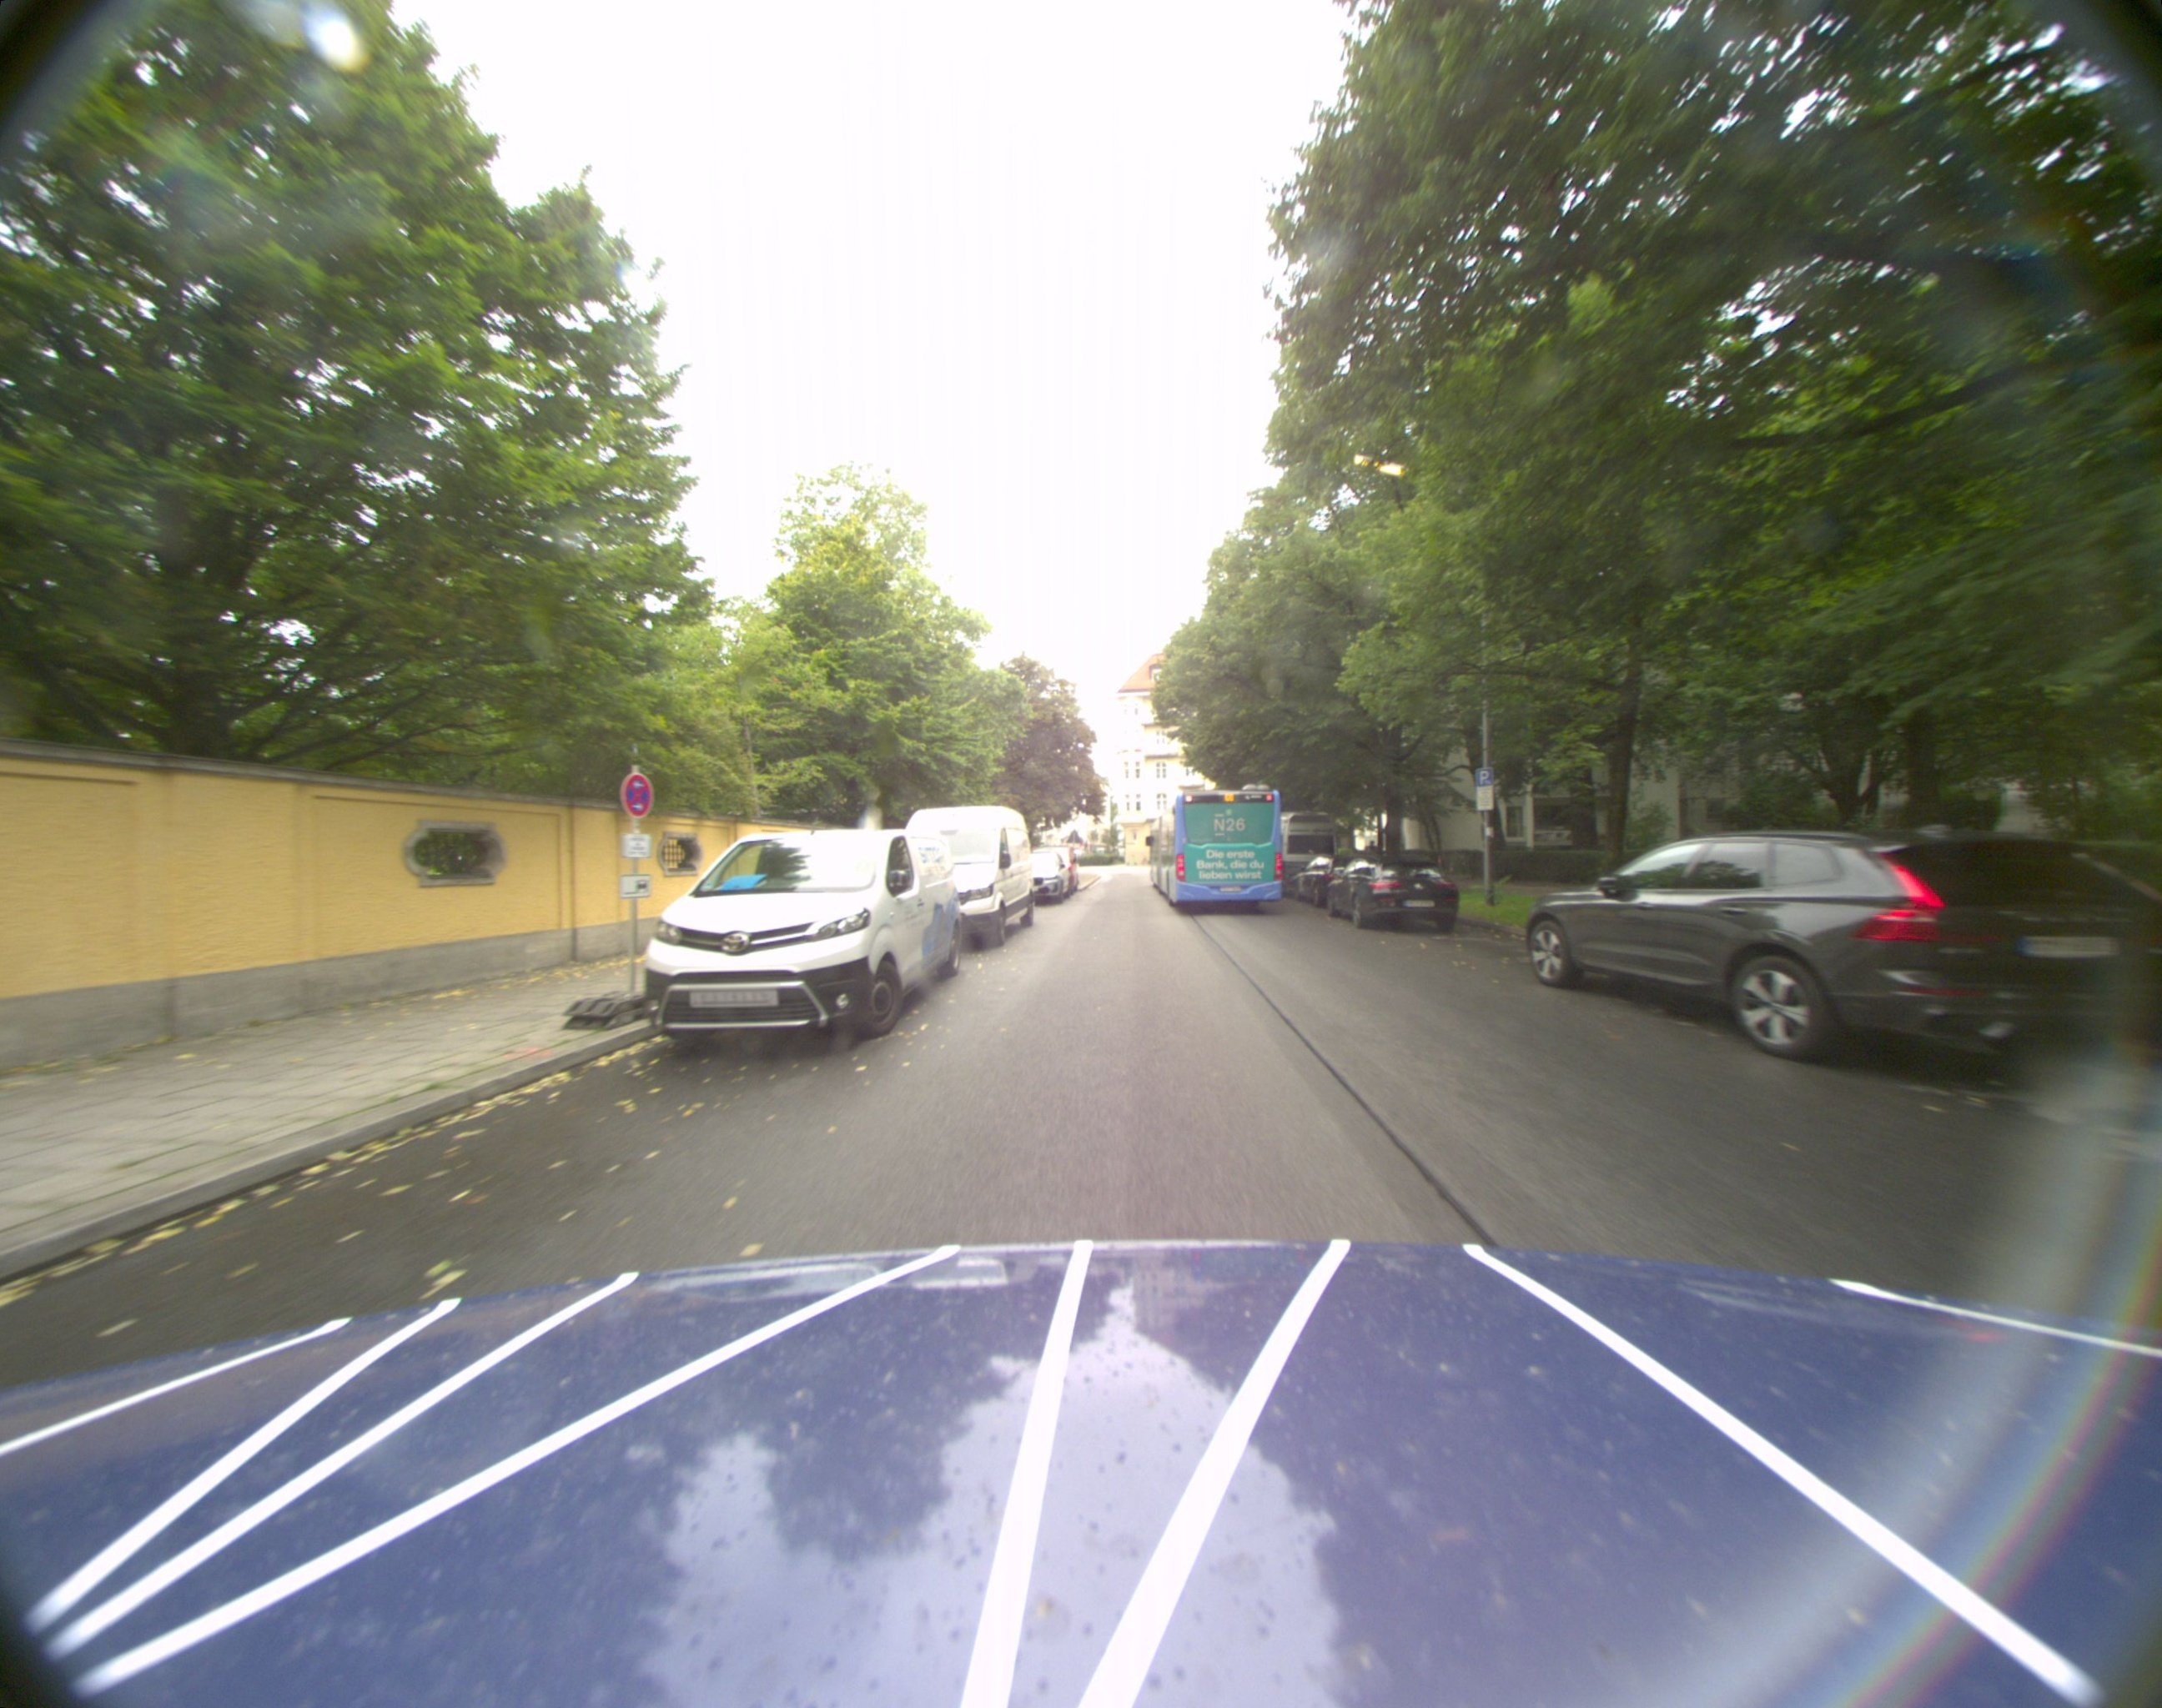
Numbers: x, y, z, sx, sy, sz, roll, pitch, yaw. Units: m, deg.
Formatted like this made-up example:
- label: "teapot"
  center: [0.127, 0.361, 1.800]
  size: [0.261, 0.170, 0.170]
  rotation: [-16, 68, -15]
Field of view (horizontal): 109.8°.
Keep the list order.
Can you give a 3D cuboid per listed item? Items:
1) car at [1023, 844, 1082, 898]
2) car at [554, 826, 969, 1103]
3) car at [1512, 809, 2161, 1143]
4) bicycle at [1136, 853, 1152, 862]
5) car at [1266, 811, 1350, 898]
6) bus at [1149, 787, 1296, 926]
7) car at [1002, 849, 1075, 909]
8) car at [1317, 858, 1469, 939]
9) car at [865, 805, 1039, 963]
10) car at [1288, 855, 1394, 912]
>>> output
- label: "car"
  center: [-1.057, 0.633, 30.824]
  size: [1.863, 1.956, 5.446]
  rotation: [-1, 0, 3]
- label: "car"
  center: [-2.645, 0.773, 7.976]
  size: [2.018, 1.895, 5.163]
  rotation: [-2, 0, 1]
- label: "car"
  center: [5.794, 0.658, 6.516]
  size: [1.788, 1.866, 4.548]
  rotation: [0, 1, 3]
- label: "bicycle"
  center: [7.598, 0.409, 91.638]
  size: [1.783, 0.986, 0.543]
  rotation: [-1, 2, 8]
- label: "car"
  center: [8.194, -0.046, 27.951]
  size: [1.949, 2.838, 6.238]
  rotation: [-1, 1, 7]
- label: "bus"
  center: [4.127, -0.140, 26.986]
  size: [2.866, 3.221, 18.426]
  rotation: [-1, 1, 3]
- label: "car"
  center: [-1.323, 0.752, 25.573]
  size: [1.863, 1.731, 4.603]
  rotation: [-2, 0, 4]
- label: "car"
  center: [6.297, 0.818, 15.905]
  size: [1.793, 1.429, 4.554]
  rotation: [-1, 0, 7]
- label: "car"
  center: [-2.198, 0.423, 14.886]
  size: [2.100, 2.473, 5.740]
  rotation: [-1, 1, 3]
- label: "car"
  center: [7.280, 0.770, 21.722]
  size: [1.794, 1.429, 4.580]
  rotation: [-1, 0, 5]
